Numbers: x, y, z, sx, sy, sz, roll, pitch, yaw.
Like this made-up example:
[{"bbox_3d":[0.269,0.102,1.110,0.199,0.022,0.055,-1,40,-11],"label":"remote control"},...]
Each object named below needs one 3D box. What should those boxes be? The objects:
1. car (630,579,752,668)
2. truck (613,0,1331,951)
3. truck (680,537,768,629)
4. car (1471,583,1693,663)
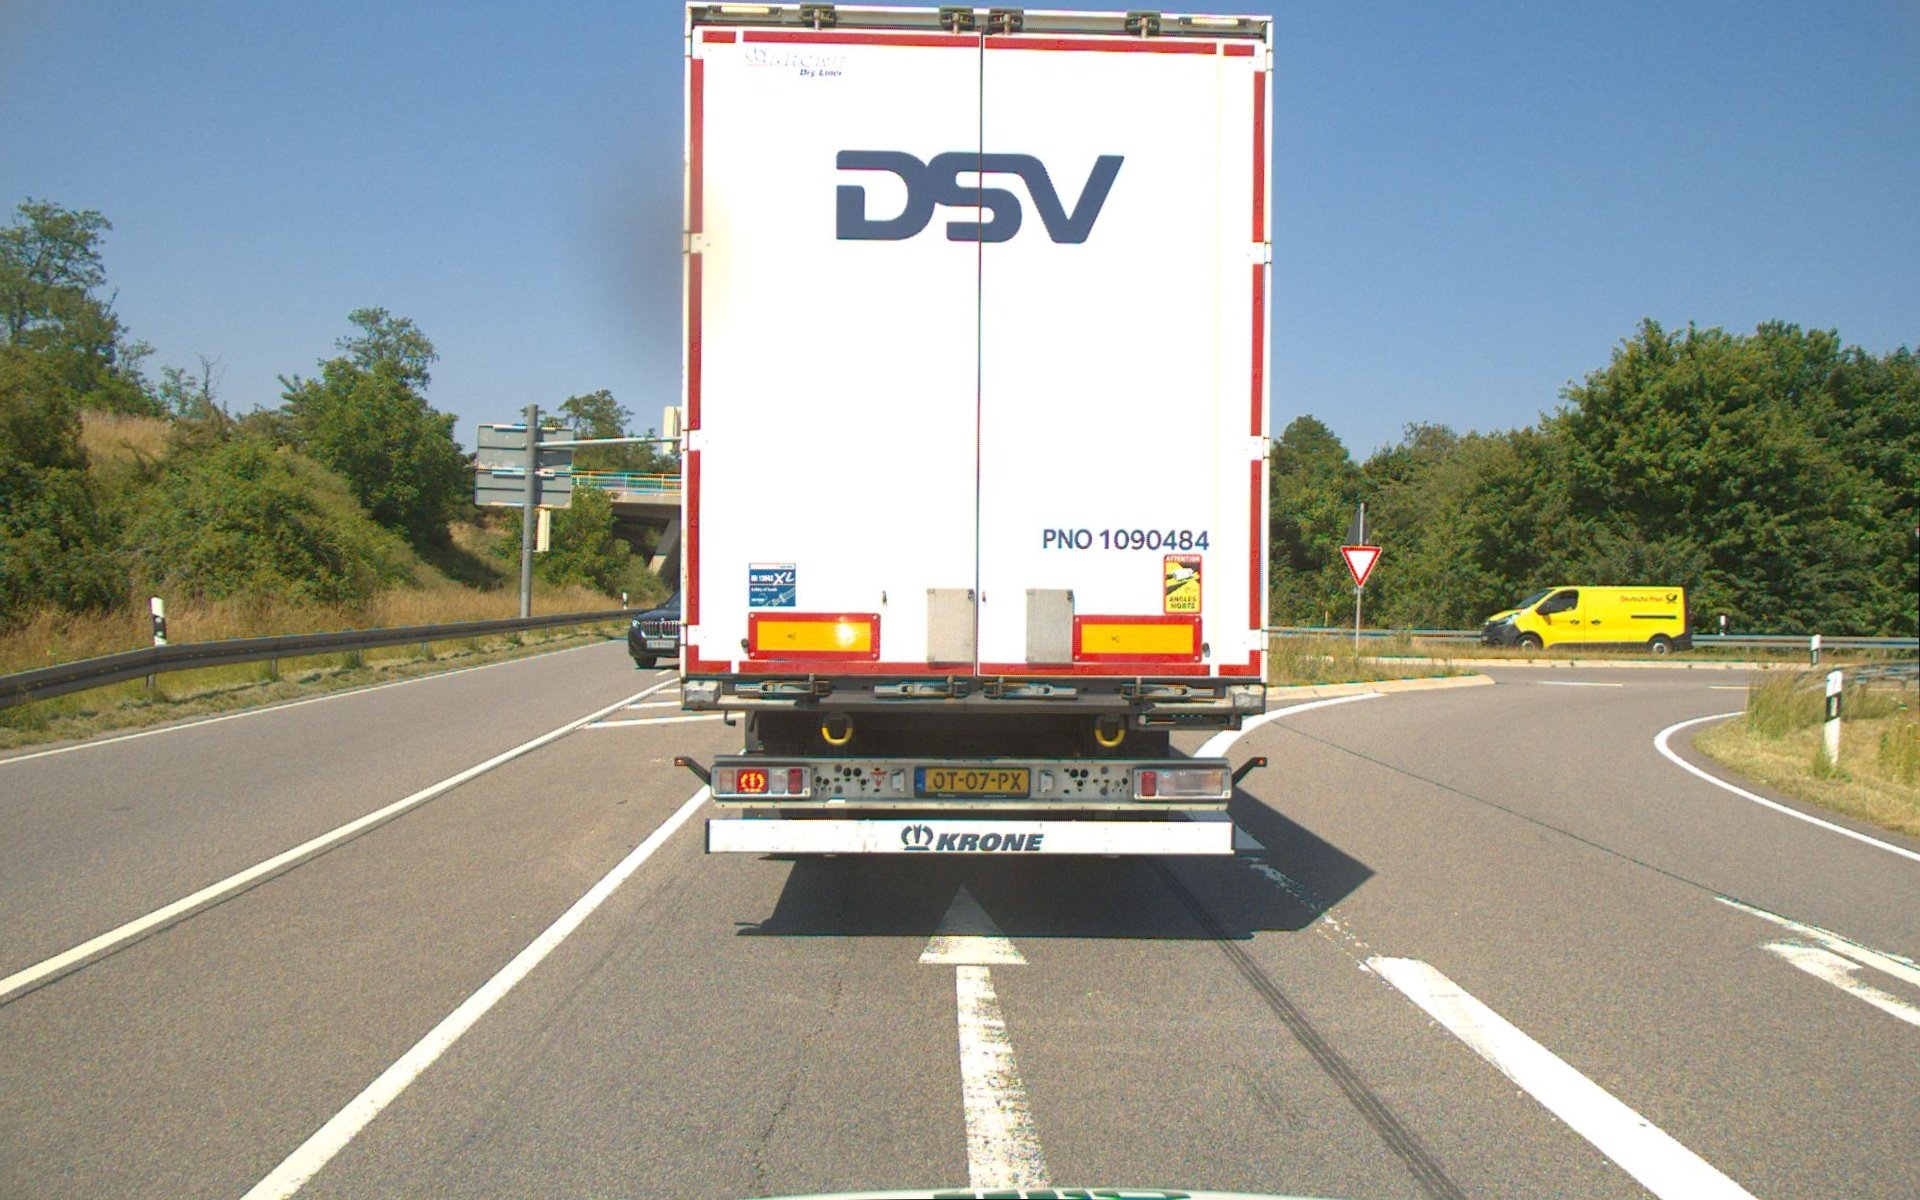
[{"bbox_3d":[-5.244,0.429,32.731,1.726,1.626,4.500,0,0,-1],"label":"car"},{"bbox_3d":[-0.056,-0.564,11.775,2.927,4.011,9.872,1,0,-1],"label":"truck"},{"bbox_3d":[-9.828,-0.651,69.617,2.591,3.600,7.888,1,0,-1],"label":"truck"},{"bbox_3d":[16.649,0.604,44.474,5.211,2.049,2.001,1,-1,2],"label":"car"}]
